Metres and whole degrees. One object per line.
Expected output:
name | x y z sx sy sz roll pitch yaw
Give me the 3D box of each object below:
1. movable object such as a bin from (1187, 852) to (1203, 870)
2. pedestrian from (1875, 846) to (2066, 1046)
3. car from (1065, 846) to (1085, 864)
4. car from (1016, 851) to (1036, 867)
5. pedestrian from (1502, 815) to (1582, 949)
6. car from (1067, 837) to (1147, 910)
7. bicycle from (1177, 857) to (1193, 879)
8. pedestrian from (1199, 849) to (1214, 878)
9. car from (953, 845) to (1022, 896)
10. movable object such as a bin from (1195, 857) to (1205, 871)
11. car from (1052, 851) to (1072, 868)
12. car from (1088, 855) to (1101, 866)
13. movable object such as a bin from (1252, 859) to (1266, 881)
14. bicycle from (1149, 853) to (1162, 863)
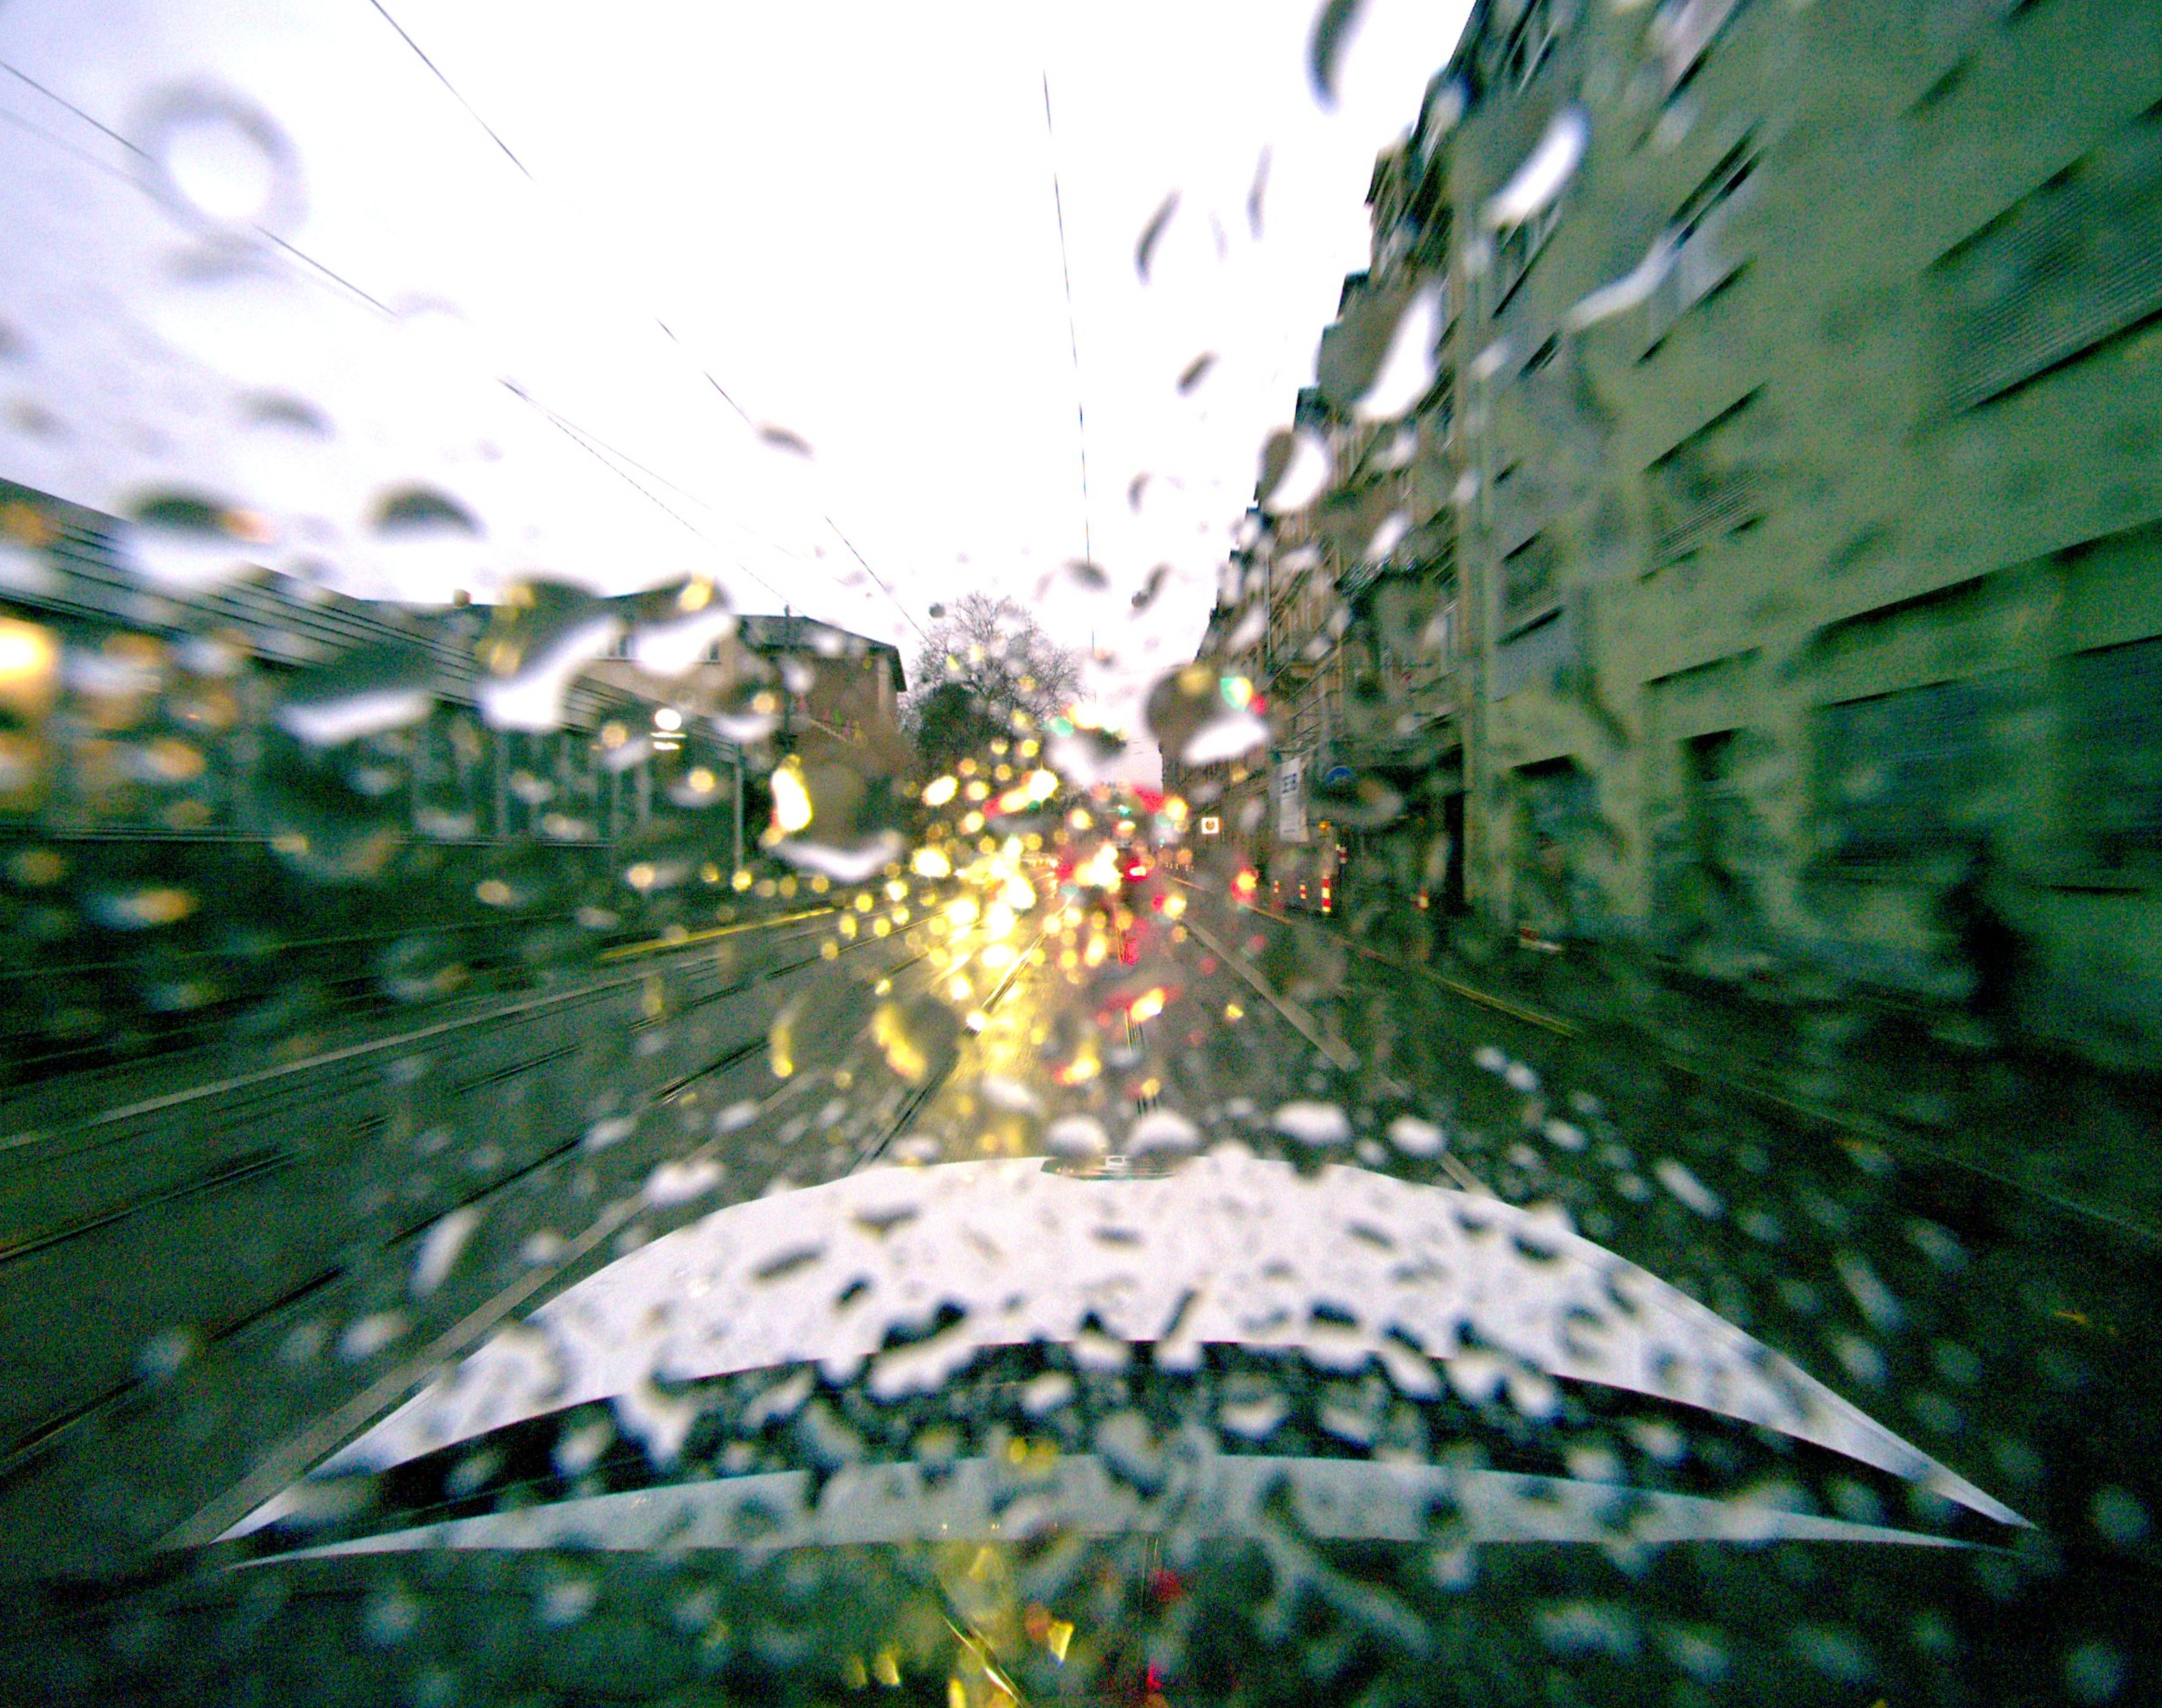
movable object such as a bin | 8.239 0.506 58.814 0.886 1.288 1.260 -1 0 -5
pedestrian | 6.485 0.636 5.975 0.597 1.376 0.728 0 -1 1
car | -0.762 0.109 111.040 2.437 2.347 5.848 -2 -1 2
car | -5.676 0.537 84.681 1.979 1.615 4.425 0 0 -2
pedestrian | 6.514 0.386 11.523 0.601 1.818 0.769 0 -1 -26
car | 0.811 0.496 22.574 1.984 1.842 4.005 -1 0 5
bicycle | 5.731 0.772 44.949 0.681 1.156 2.189 0 0 2
pedestrian | 7.392 0.535 48.087 0.829 1.701 0.956 0 -1 10
car | -3.404 0.576 30.455 1.868 1.709 4.761 -2 0 1
movable object such as a bin | 8.101 0.686 55.372 0.609 0.929 0.491 -1 0 0
car | -1.625 0.469 71.827 1.524 1.481 3.563 -1 0 2
car | 2.433 1.170 145.976 1.985 2.014 4.004 0 0 4
movable object such as a bin | 7.697 0.709 35.264 0.505 0.931 0.507 -1 0 0
bicycle | 9.014 0.519 98.214 0.795 1.144 2.230 0 -1 -17
